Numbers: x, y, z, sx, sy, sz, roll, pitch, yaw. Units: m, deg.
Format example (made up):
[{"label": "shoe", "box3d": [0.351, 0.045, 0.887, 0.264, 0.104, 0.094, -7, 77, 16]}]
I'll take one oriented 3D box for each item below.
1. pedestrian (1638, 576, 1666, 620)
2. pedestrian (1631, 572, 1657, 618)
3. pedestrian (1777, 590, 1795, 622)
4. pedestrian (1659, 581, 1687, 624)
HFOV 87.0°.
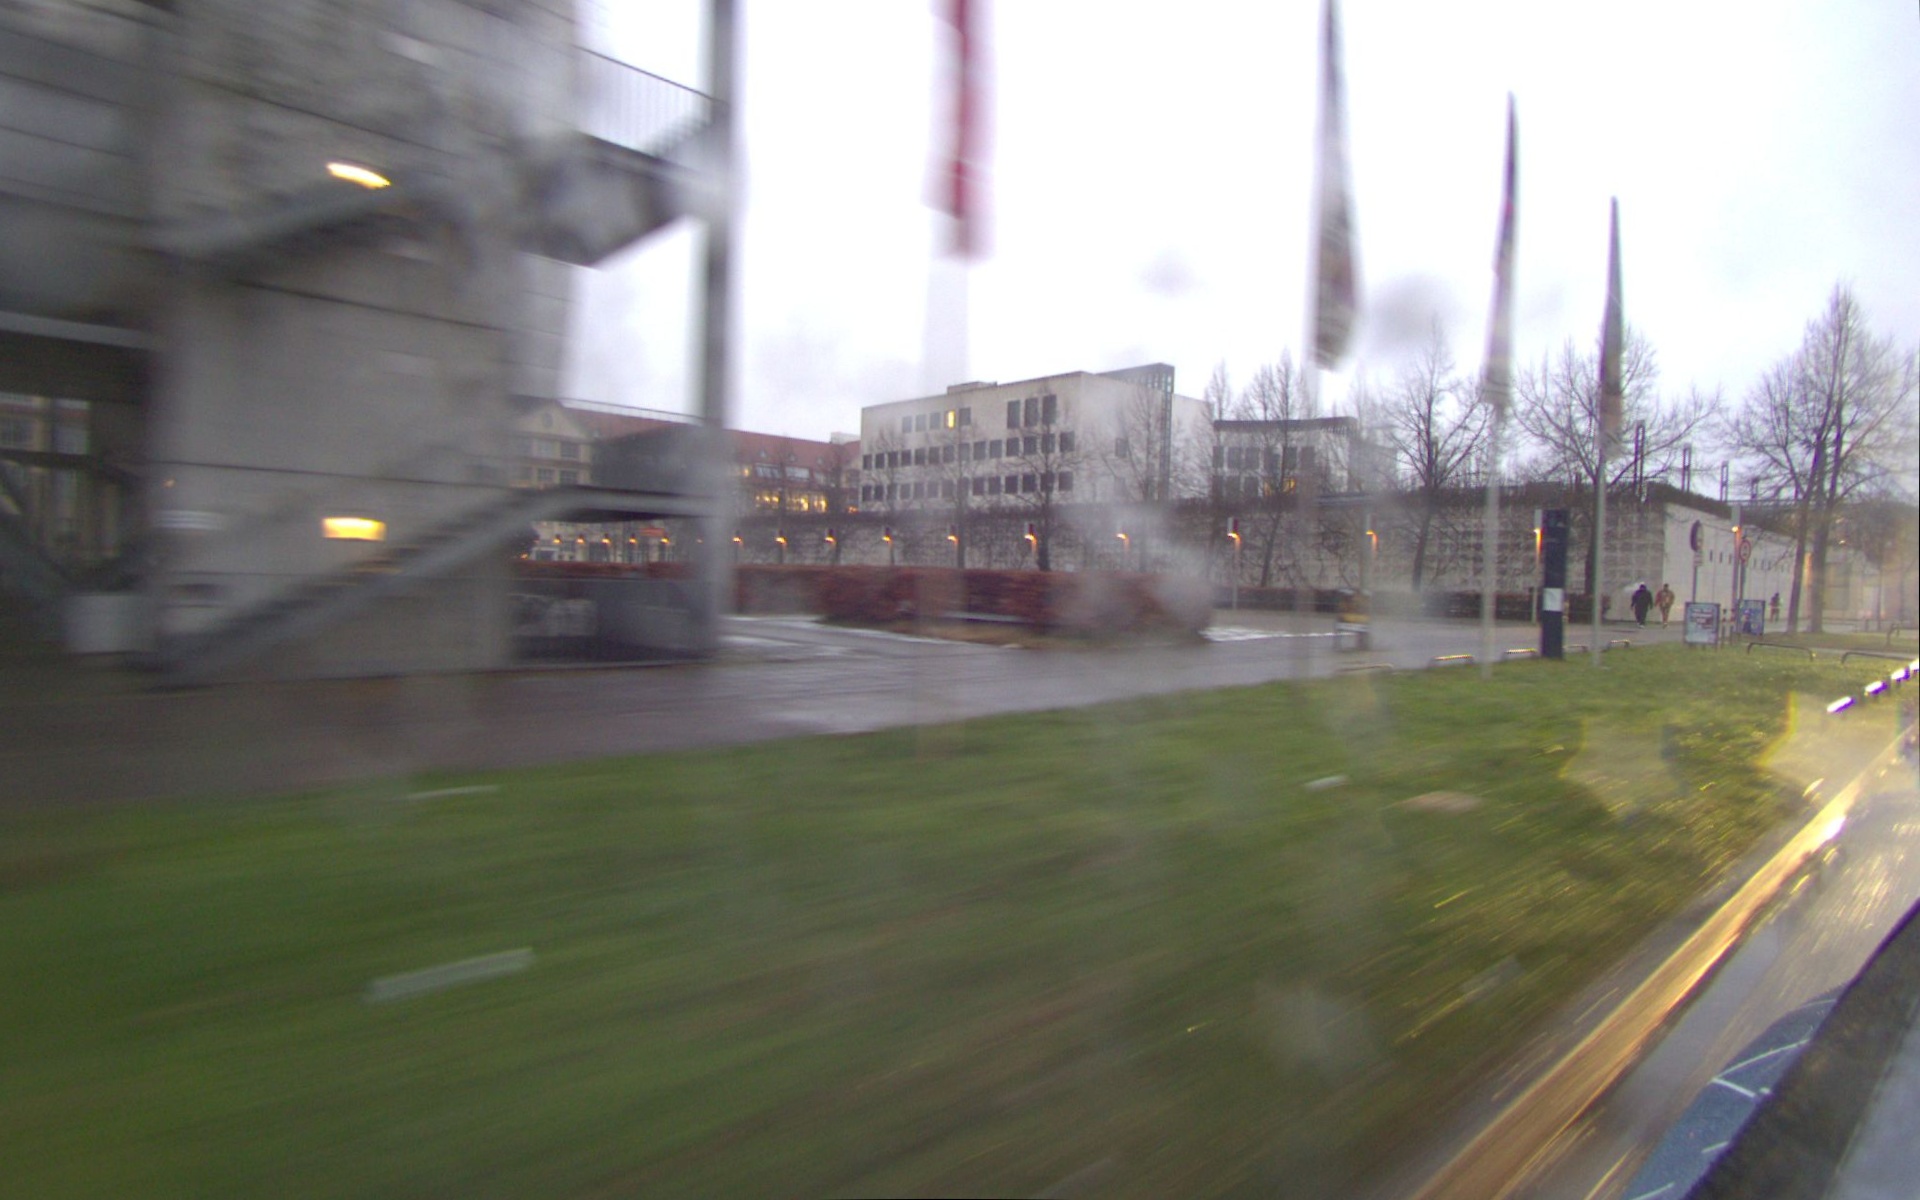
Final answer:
[{"label": "pedestrian", "box3d": [26.310, -0.087, 38.461, 0.602, 1.646, 0.676, 0, 0, -27]}, {"label": "pedestrian", "box3d": [27.302, -0.200, 40.395, 0.602, 1.800, 0.675, 0, 0, -29]}, {"label": "pedestrian", "box3d": [45.661, 0.328, 55.935, 0.667, 1.675, 0.979, 3, 3, 42]}, {"label": "pedestrian", "box3d": [27.870, 0.095, 39.560, 0.602, 1.632, 0.675, 0, 0, -28]}]
